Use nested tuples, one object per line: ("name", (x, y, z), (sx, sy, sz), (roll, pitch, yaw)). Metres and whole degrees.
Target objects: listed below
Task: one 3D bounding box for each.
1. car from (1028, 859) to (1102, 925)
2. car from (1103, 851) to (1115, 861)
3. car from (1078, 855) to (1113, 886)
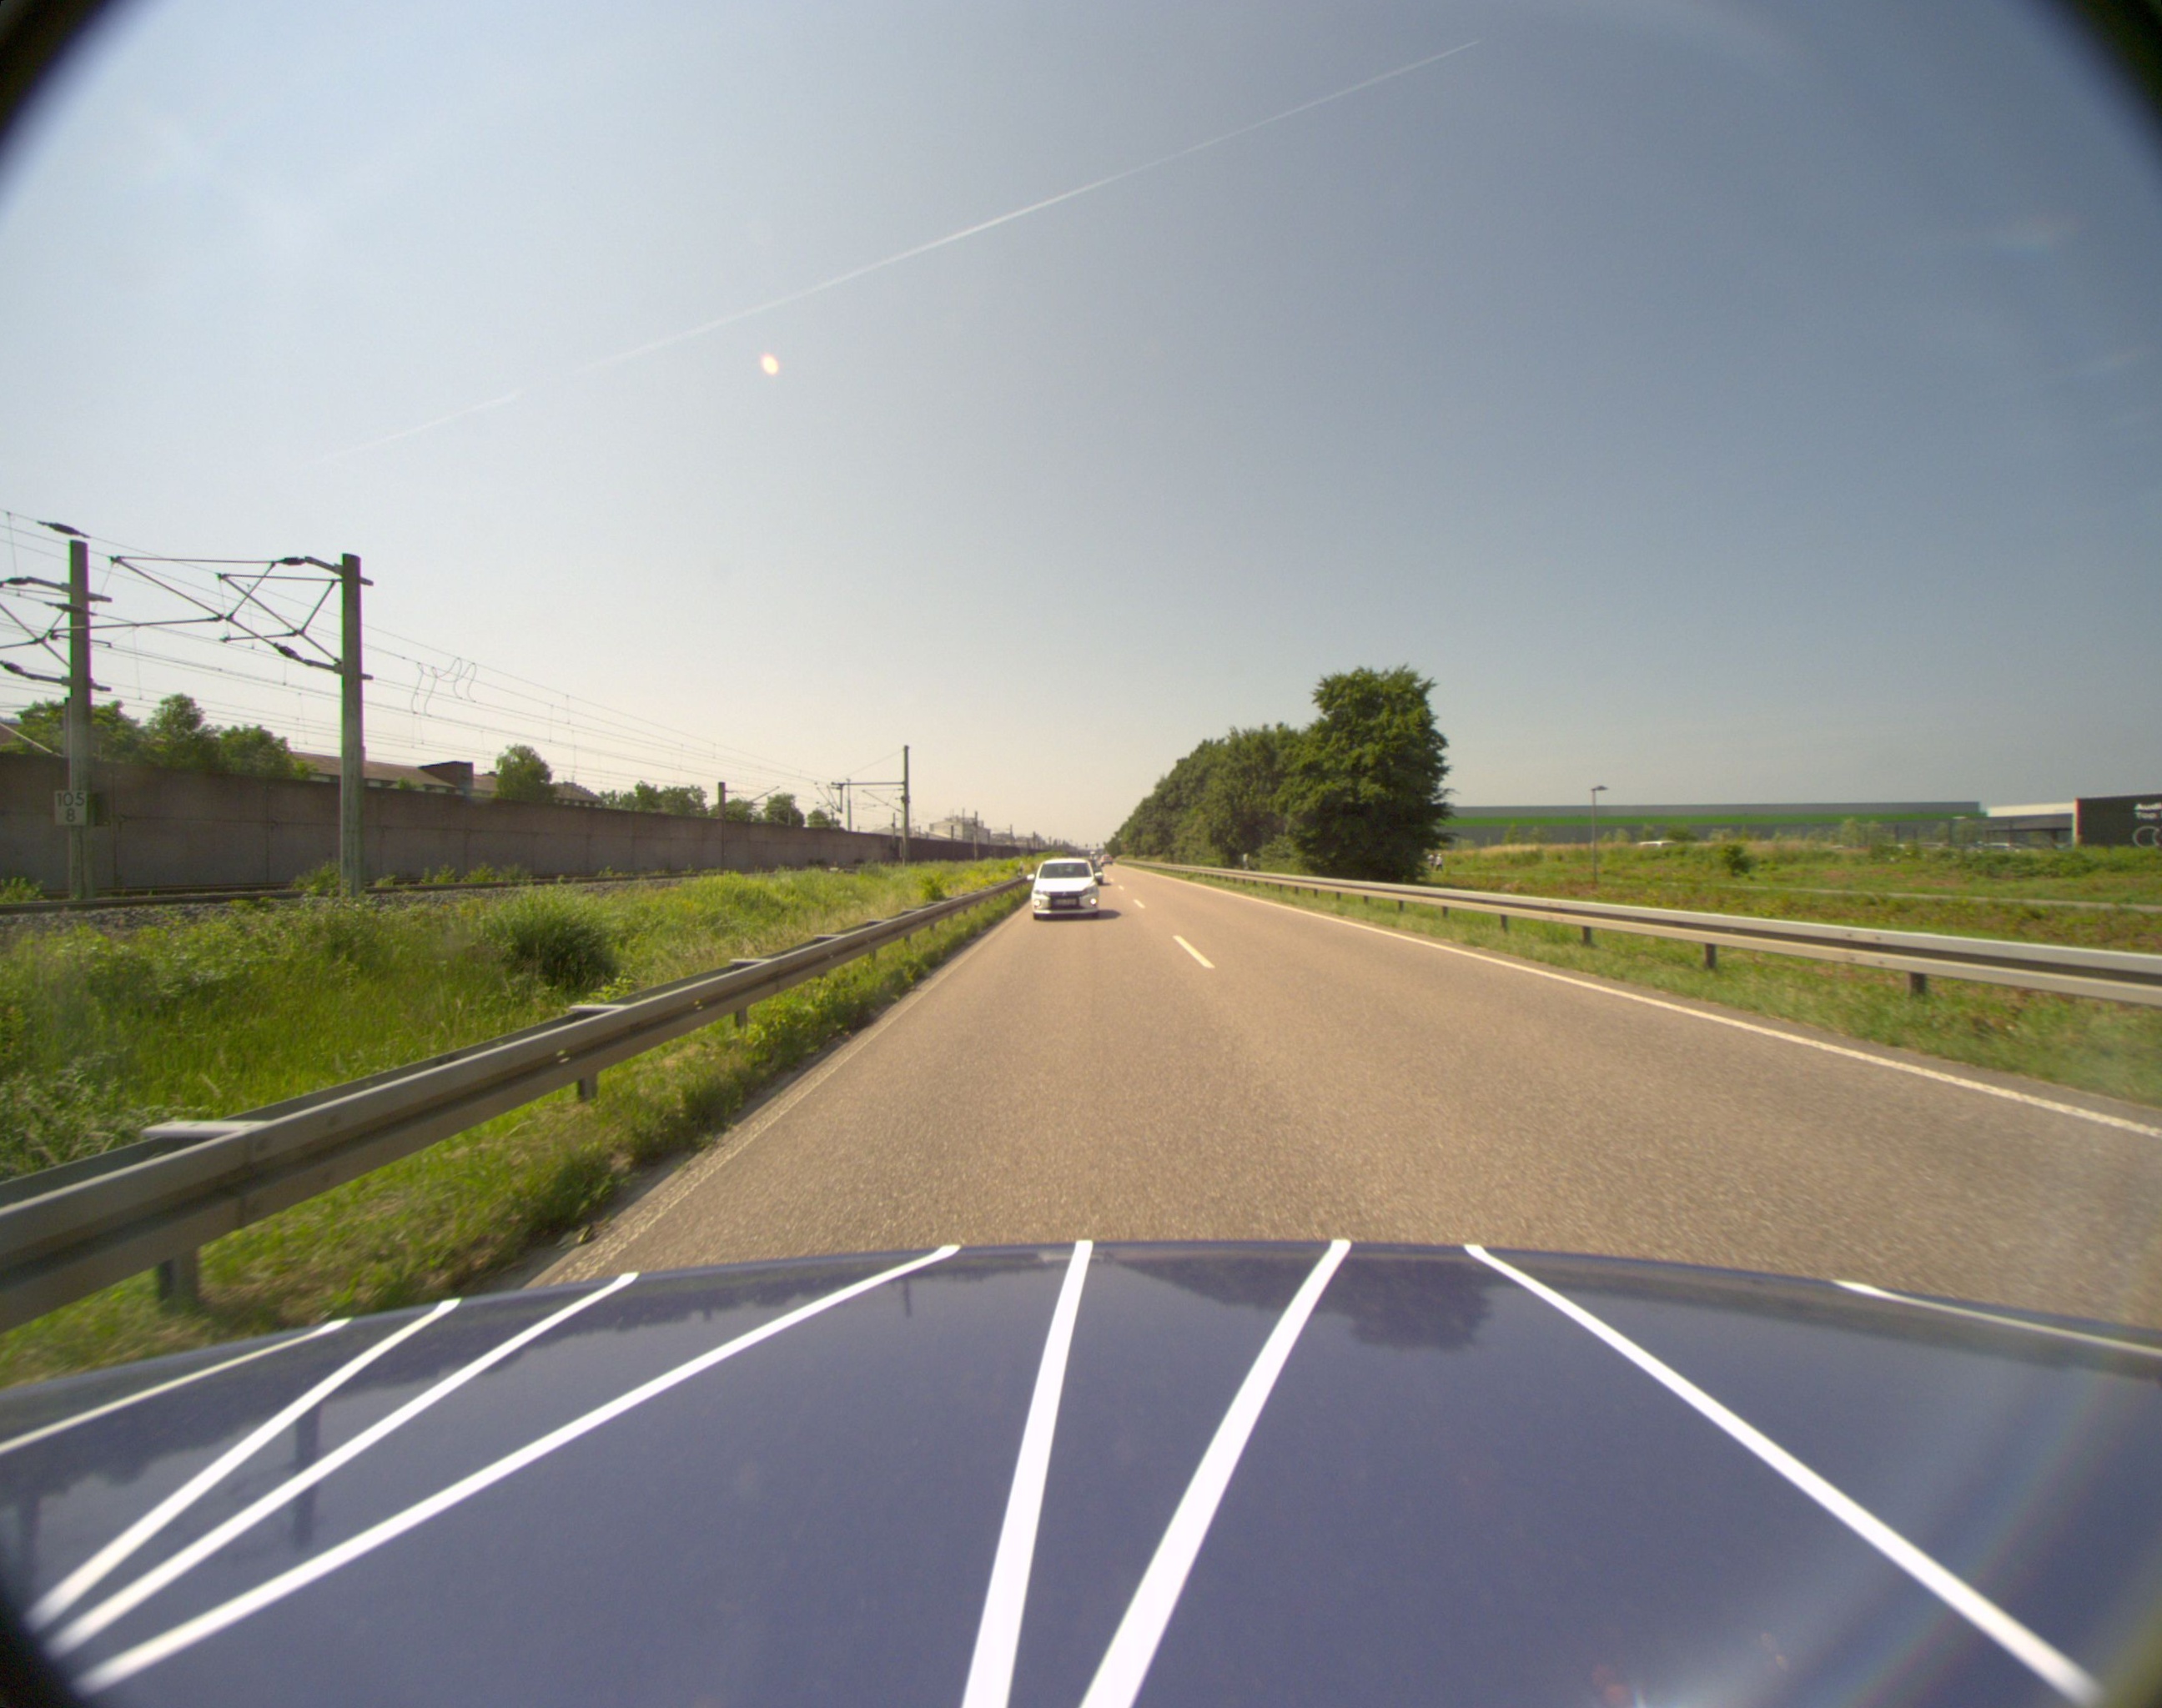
("car", (-0.371, 0.915, 20.070), (1.701, 1.471, 4.155), (-2, 0, 0))
("car", (4.273, 0.306, 118.127), (1.711, 1.471, 4.155), (-2, 0, 0))
("car", (0.735, 0.840, 40.301), (1.711, 1.471, 4.155), (-2, 0, 0))
